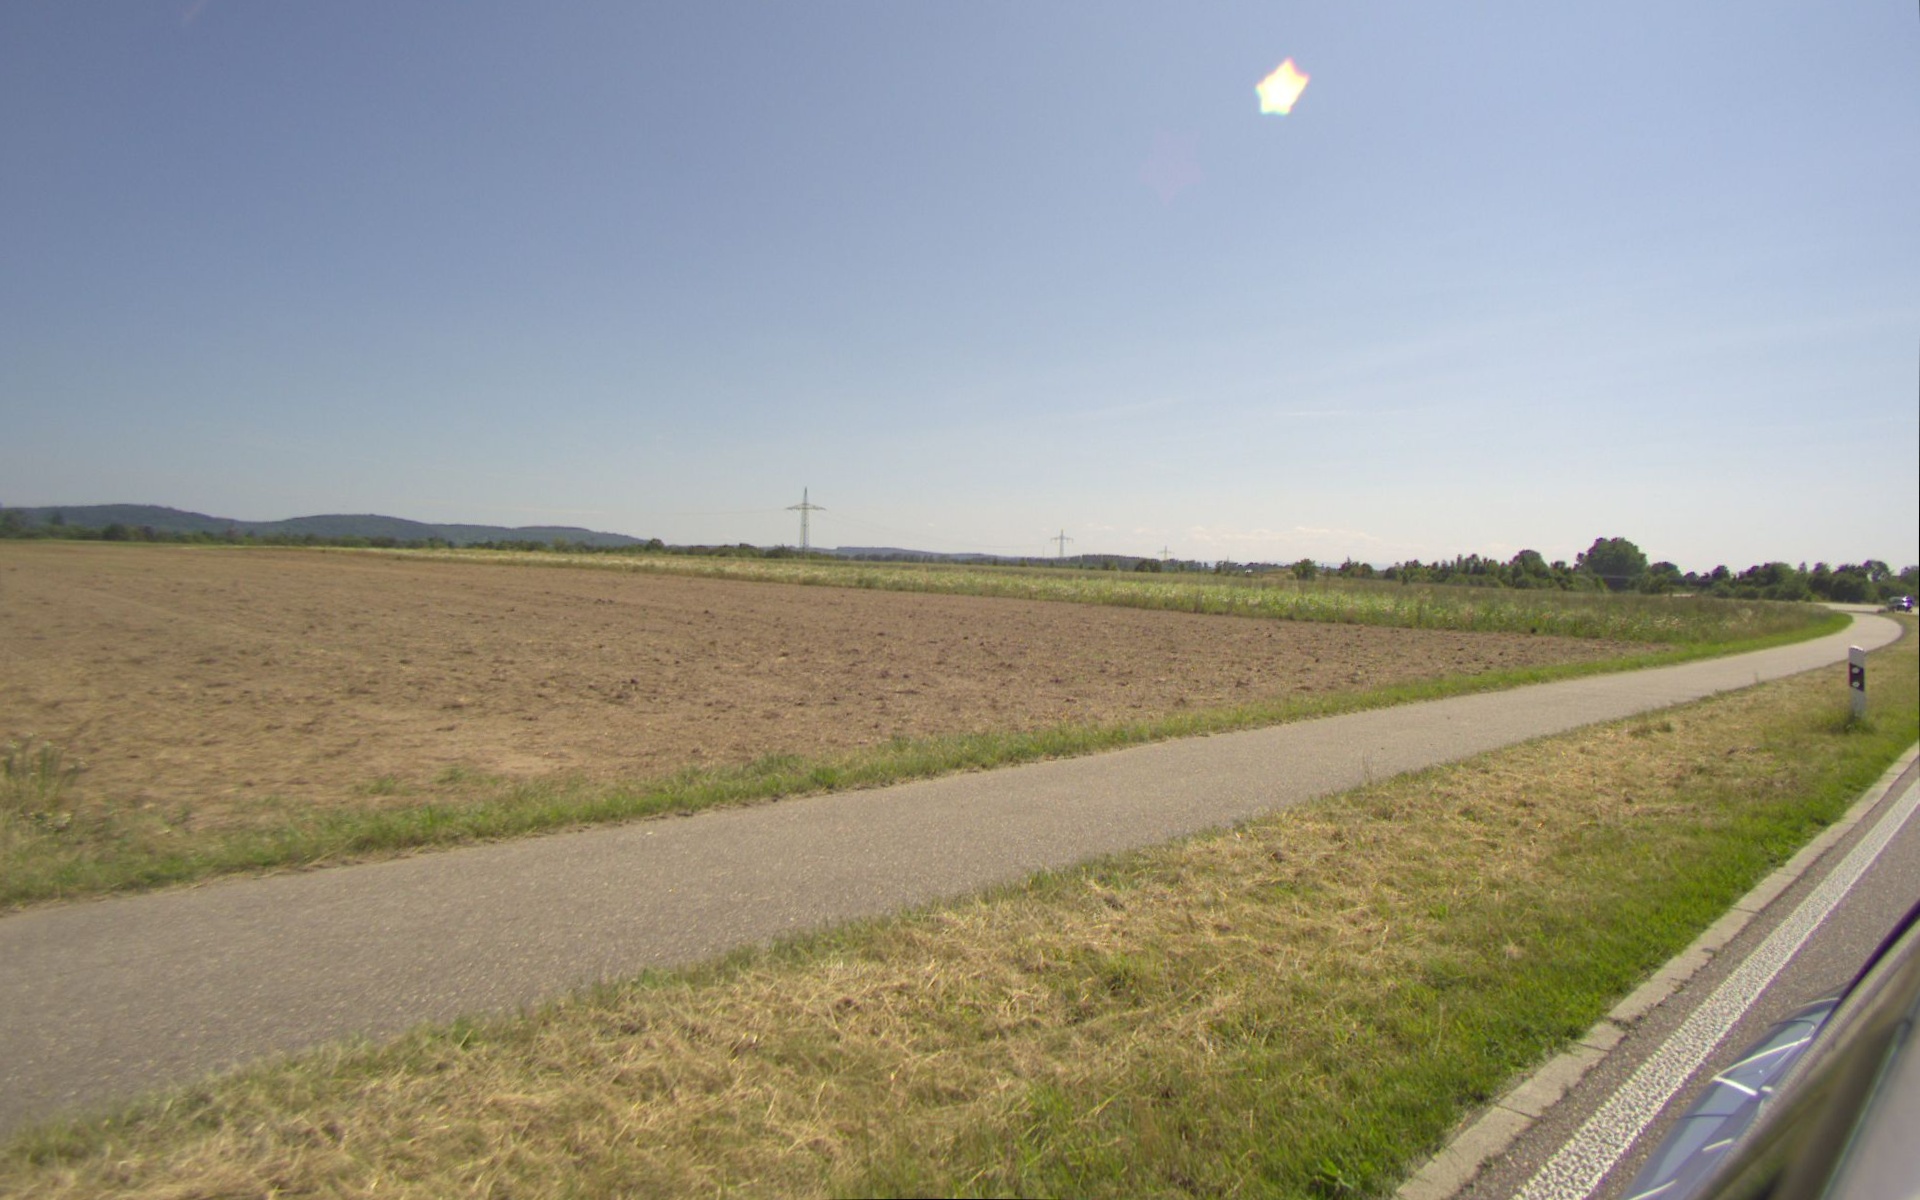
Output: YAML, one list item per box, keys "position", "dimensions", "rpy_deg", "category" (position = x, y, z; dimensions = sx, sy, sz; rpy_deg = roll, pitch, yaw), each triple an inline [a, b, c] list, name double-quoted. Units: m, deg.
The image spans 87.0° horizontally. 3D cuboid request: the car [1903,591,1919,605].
- position: [113.426, -0.211, 119.910]
  dimensions: [1.974, 1.616, 5.329]
  rpy_deg: [1, 1, 37]
  category: "car"
